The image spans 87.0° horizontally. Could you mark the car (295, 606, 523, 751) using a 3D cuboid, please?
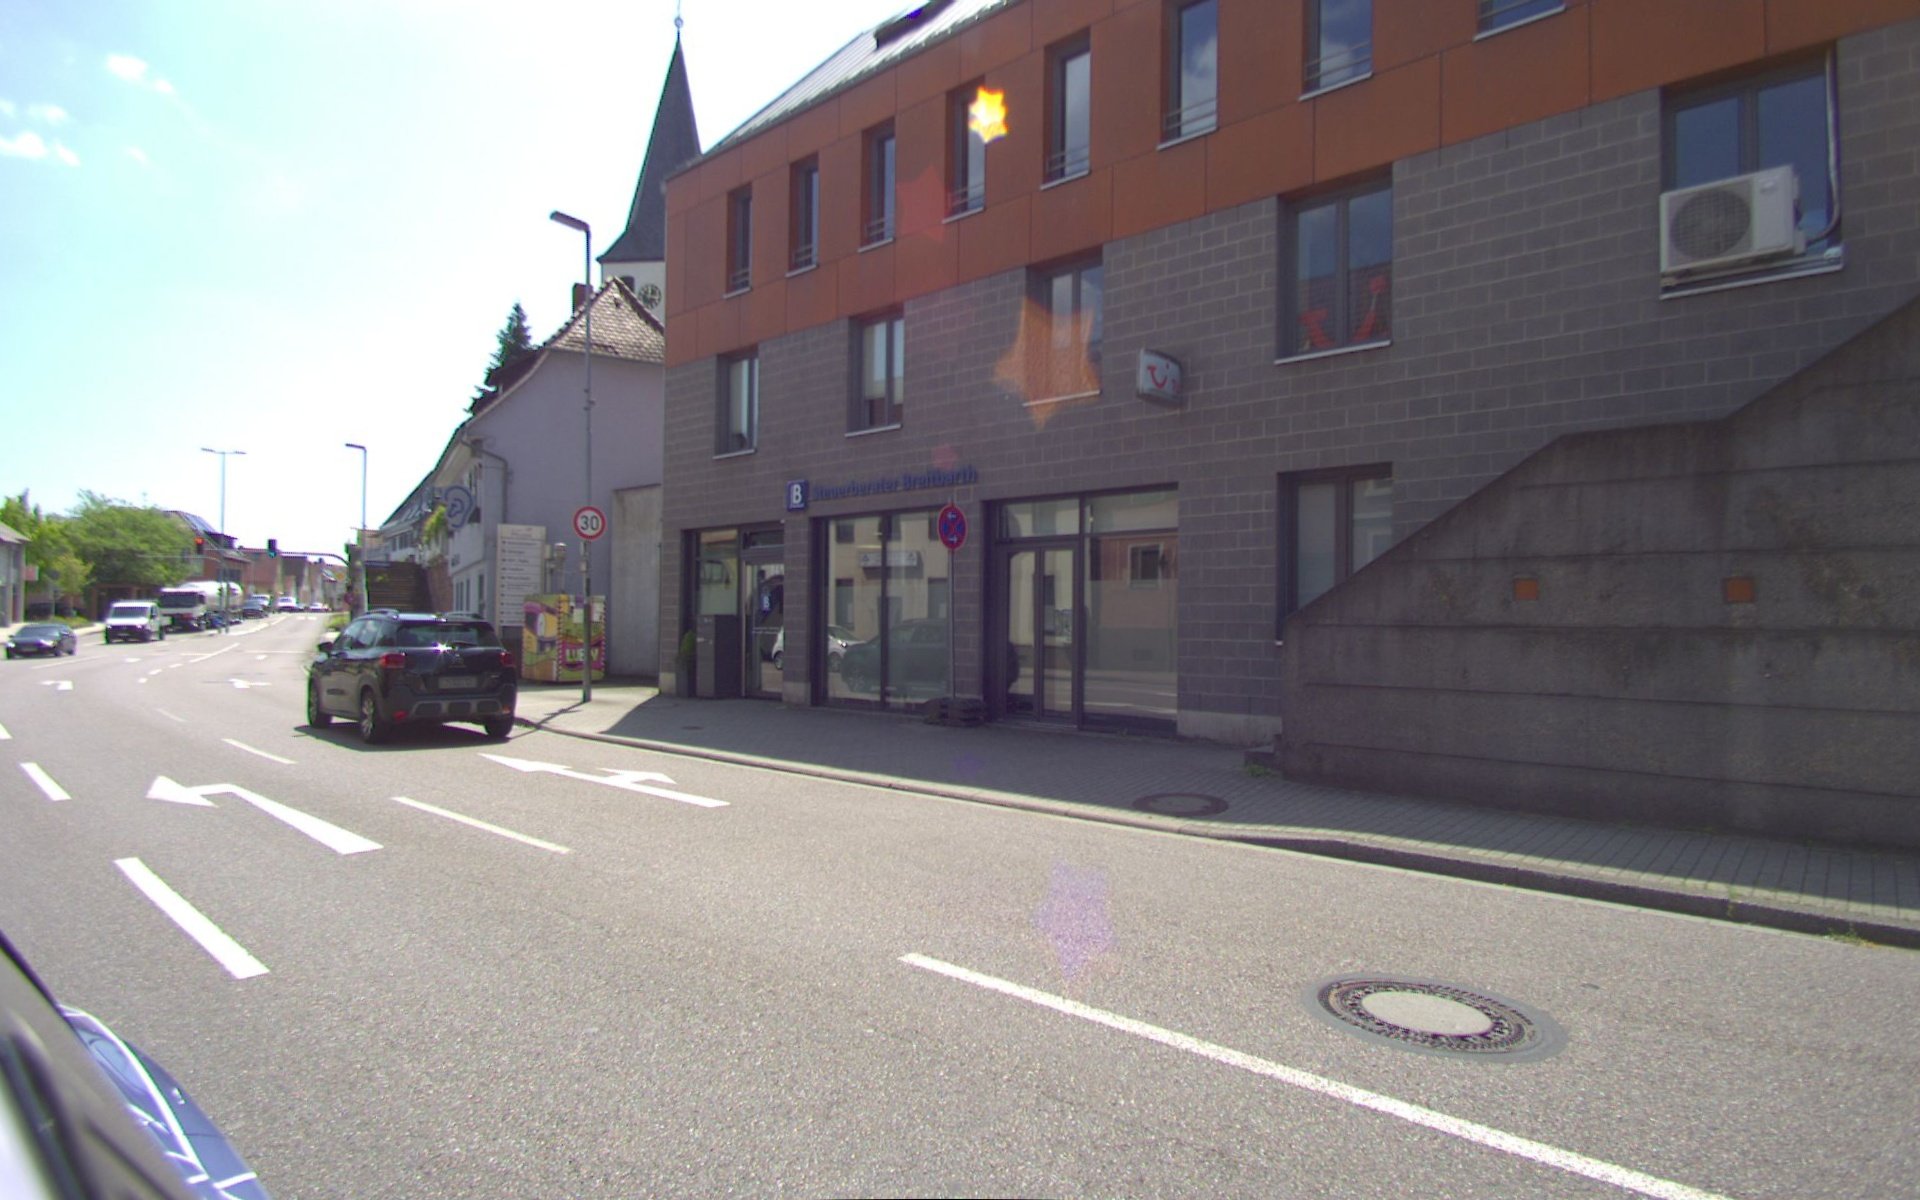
[{"bbox_3d":[-7.555,0.975,13.706,1.650,1.670,4.021,4,-4,-44],"label":"car"}]

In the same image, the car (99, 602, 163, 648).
[{"bbox_3d":[-48.572,1.473,59.401,2.139,2.583,4.839,0,-1,-30],"label":"car"}]

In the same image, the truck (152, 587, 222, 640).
[{"bbox_3d":[-54.718,0.964,71.781,2.800,3.597,5.486,0,-1,-24],"label":"truck"}]

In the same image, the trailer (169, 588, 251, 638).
[{"bbox_3d":[-57.538,1.028,77.952,2.790,3.597,11.001,0,-1,-24],"label":"trailer"}]

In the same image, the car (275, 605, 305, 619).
[{"bbox_3d":[-79.602,1.446,120.298,1.978,1.643,4.592,0,-1,-19],"label":"car"}]

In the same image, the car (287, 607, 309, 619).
[{"bbox_3d":[-88.854,1.751,135.861,1.978,1.643,4.592,0,-1,-28],"label":"car"}]

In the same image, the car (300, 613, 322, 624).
[{"bbox_3d":[-99.387,2.875,155.131,1.978,1.643,4.592,0,-1,-22],"label":"car"}]

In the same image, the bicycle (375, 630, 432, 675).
[{"bbox_3d":[-17.429,1.625,31.760,0.571,1.258,1.828,-3,0,6],"label":"bicycle"}]

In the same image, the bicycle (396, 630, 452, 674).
[{"bbox_3d":[-16.785,1.615,31.756,0.571,1.258,1.828,-3,0,6],"label":"bicycle"}]

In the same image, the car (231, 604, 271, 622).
[{"bbox_3d":[-63.952,1.196,91.386,1.978,1.643,4.593,0,-1,-22],"label":"car"}]

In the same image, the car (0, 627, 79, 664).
[{"bbox_3d":[-39.883,1.941,43.847,1.898,1.376,4.315,-1,0,-32],"label":"car"}]
